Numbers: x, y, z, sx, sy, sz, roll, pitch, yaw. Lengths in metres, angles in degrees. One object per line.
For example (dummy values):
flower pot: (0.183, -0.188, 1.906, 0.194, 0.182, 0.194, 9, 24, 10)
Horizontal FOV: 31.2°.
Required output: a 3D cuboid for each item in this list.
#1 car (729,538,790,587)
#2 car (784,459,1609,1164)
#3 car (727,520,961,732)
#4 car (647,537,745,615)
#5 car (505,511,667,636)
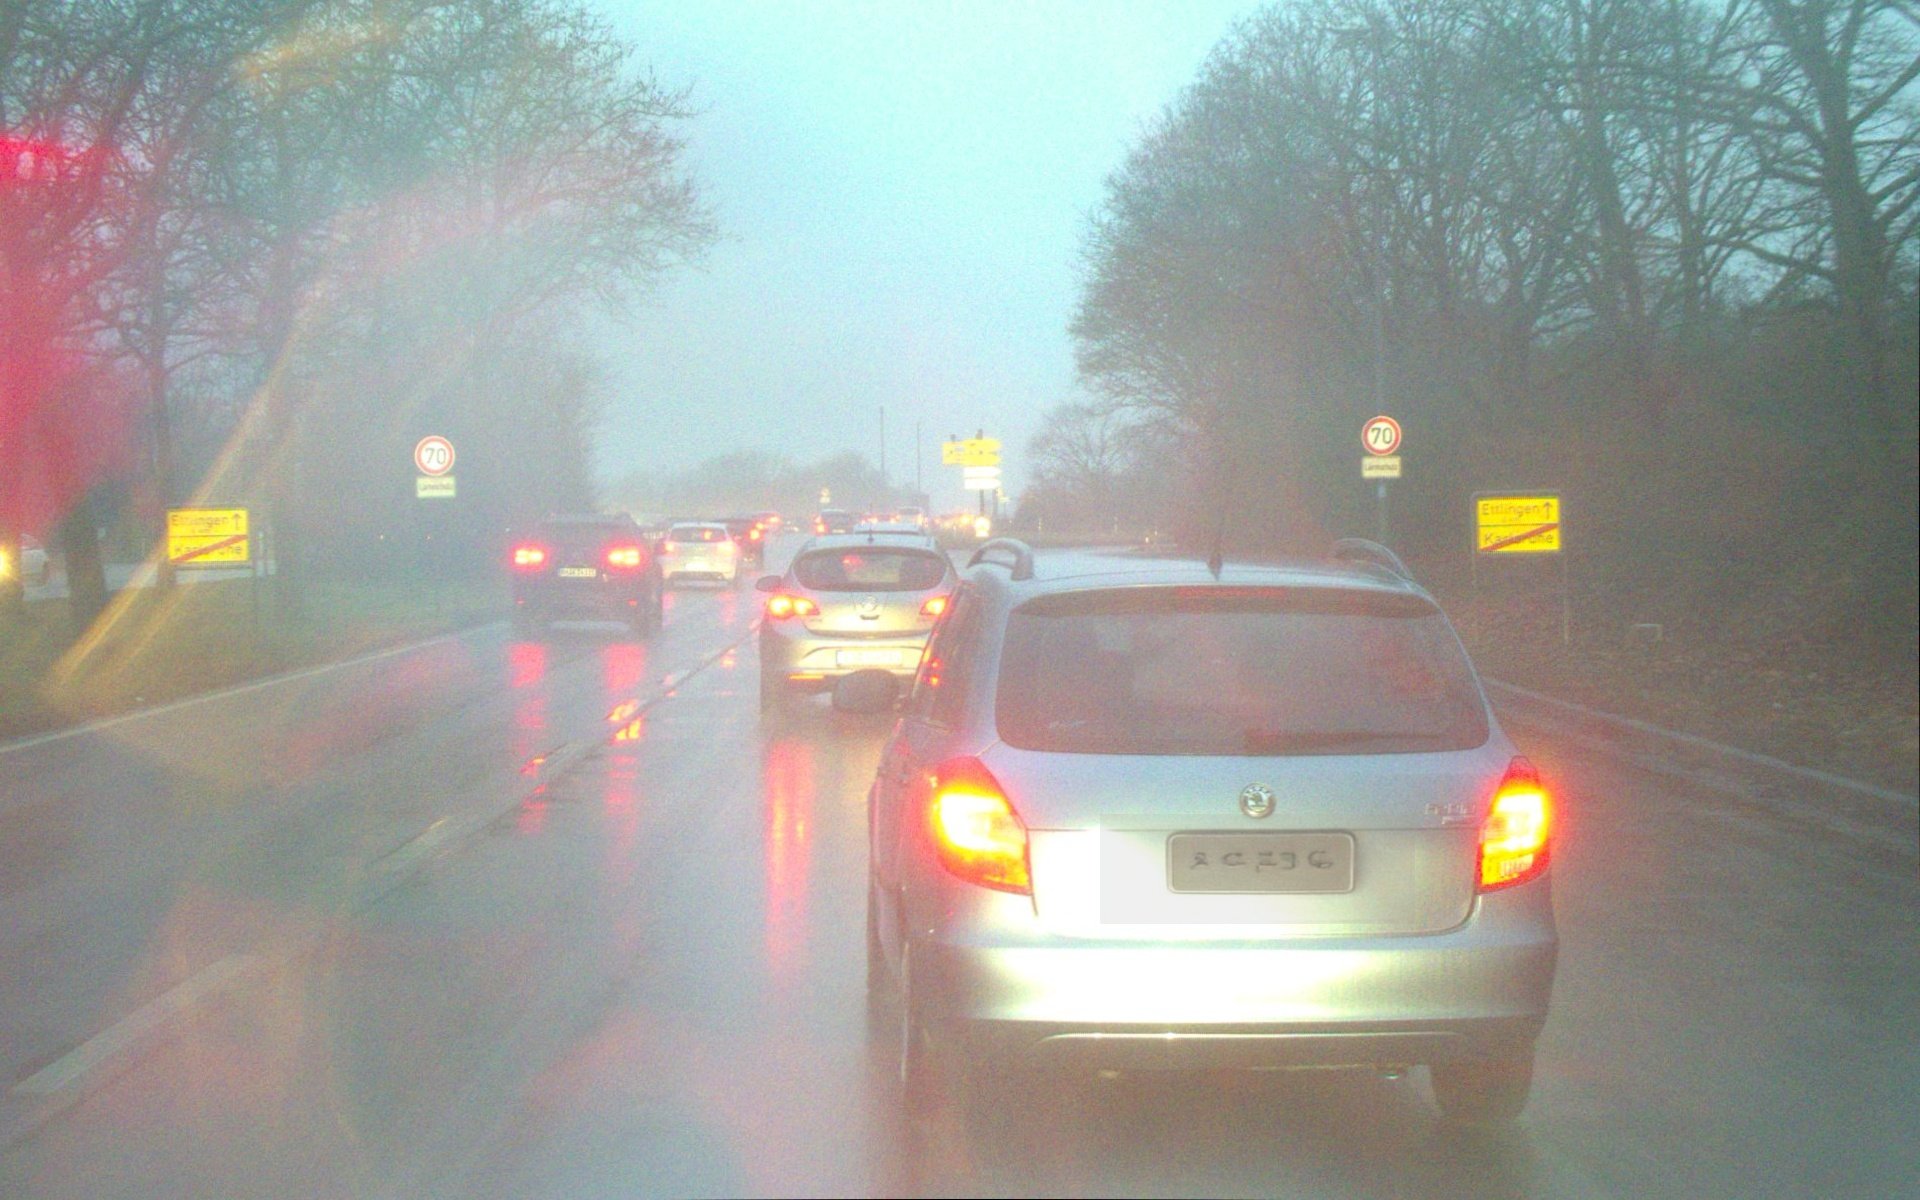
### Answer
car: (-5.600, -1.055, 96.521, 1.505, 1.334, 4.000, 0, 0, -1)
car: (0.542, 0.508, 10.398, 1.933, 1.642, 4.466, 1, 0, -1)
car: (-0.935, 0.213, 29.361, 1.822, 1.642, 4.466, 1, 0, -1)
car: (-5.736, -0.519, 75.154, 1.822, 1.642, 4.000, 0, 0, 0)
car: (-5.118, -0.361, 47.480, 1.822, 1.642, 4.000, 0, 0, -1)
